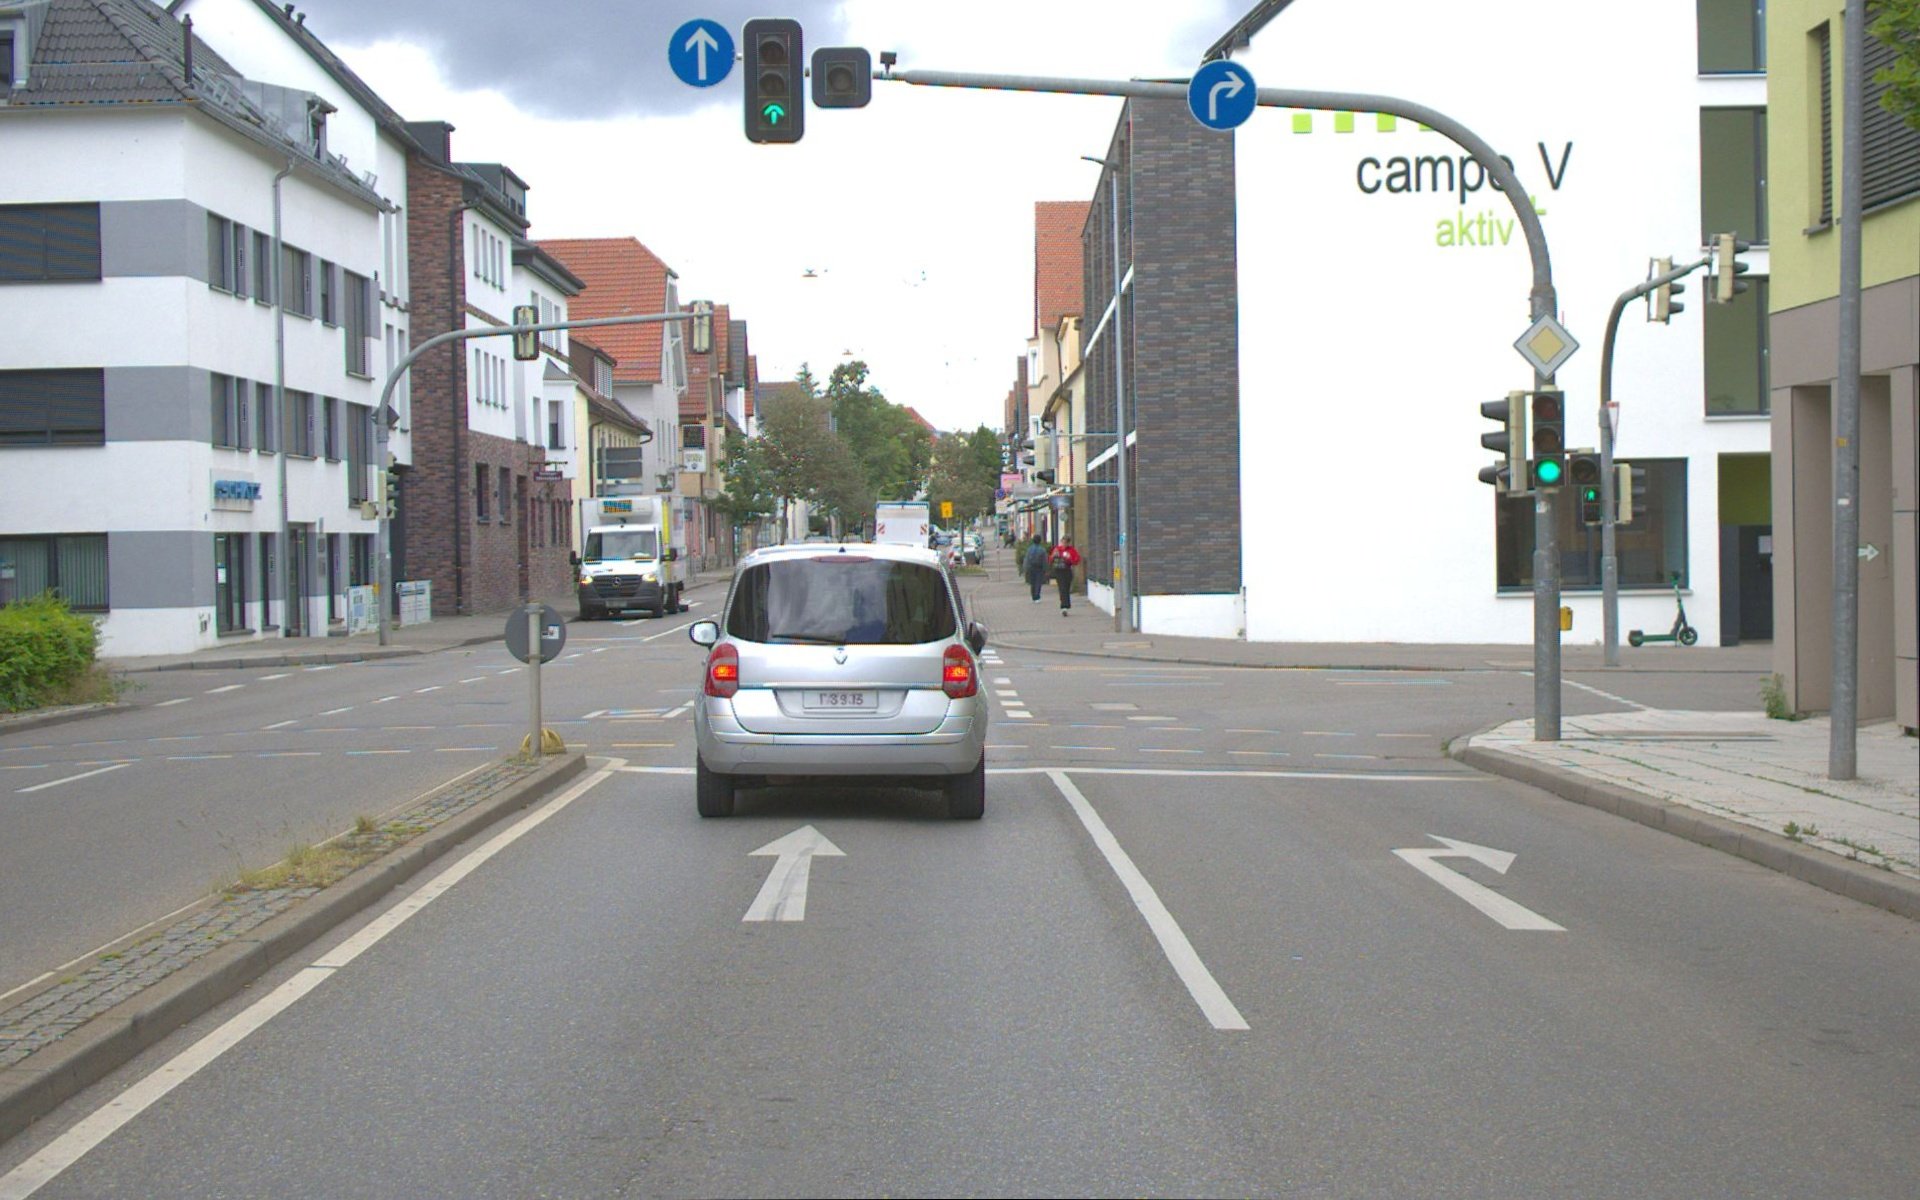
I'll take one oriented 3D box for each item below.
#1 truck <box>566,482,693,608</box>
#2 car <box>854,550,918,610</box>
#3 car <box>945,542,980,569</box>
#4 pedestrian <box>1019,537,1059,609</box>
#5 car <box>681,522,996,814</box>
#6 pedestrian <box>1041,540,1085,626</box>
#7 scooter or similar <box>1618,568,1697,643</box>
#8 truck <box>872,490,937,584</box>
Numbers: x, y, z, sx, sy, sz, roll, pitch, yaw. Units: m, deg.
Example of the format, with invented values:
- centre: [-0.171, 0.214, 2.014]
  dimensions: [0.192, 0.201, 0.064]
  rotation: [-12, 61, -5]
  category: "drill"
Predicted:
- centre: [-8.114, -1.384, 85.326]
  dimensions: [2.435, 2.943, 8.365]
  rotation: [1, 1, -1]
  category: "truck"
- centre: [-2.038, -0.561, 94.937]
  dimensions: [1.706, 1.573, 4.000]
  rotation: [1, 1, -1]
  category: "car"
- centre: [0.145, -2.393, 185.179]
  dimensions: [1.812, 1.349, 4.000]
  rotation: [-1, 1, 0]
  category: "car"
- centre: [2.002, -0.690, 87.457]
  dimensions: [0.889, 1.780, 0.785]
  rotation: [-3, 1, 0]
  category: "pedestrian"
- centre: [-0.693, 0.335, 20.866]
  dimensions: [1.706, 1.573, 4.000]
  rotation: [1, 1, -1]
  category: "car"
- centre: [2.205, -0.373, 73.434]
  dimensions: [0.807, 1.780, 0.861]
  rotation: [-3, 1, 0]
  category: "pedestrian"
- centre: [11.771, 0.092, 58.028]
  dimensions: [1.230, 1.231, 0.406]
  rotation: [1, 1, 0]
  category: "scooter or similar"
- centre: [-2.285, -2.659, 144.519]
  dimensions: [2.595, 3.844, 6.849]
  rotation: [-1, 1, 0]
  category: "truck"
